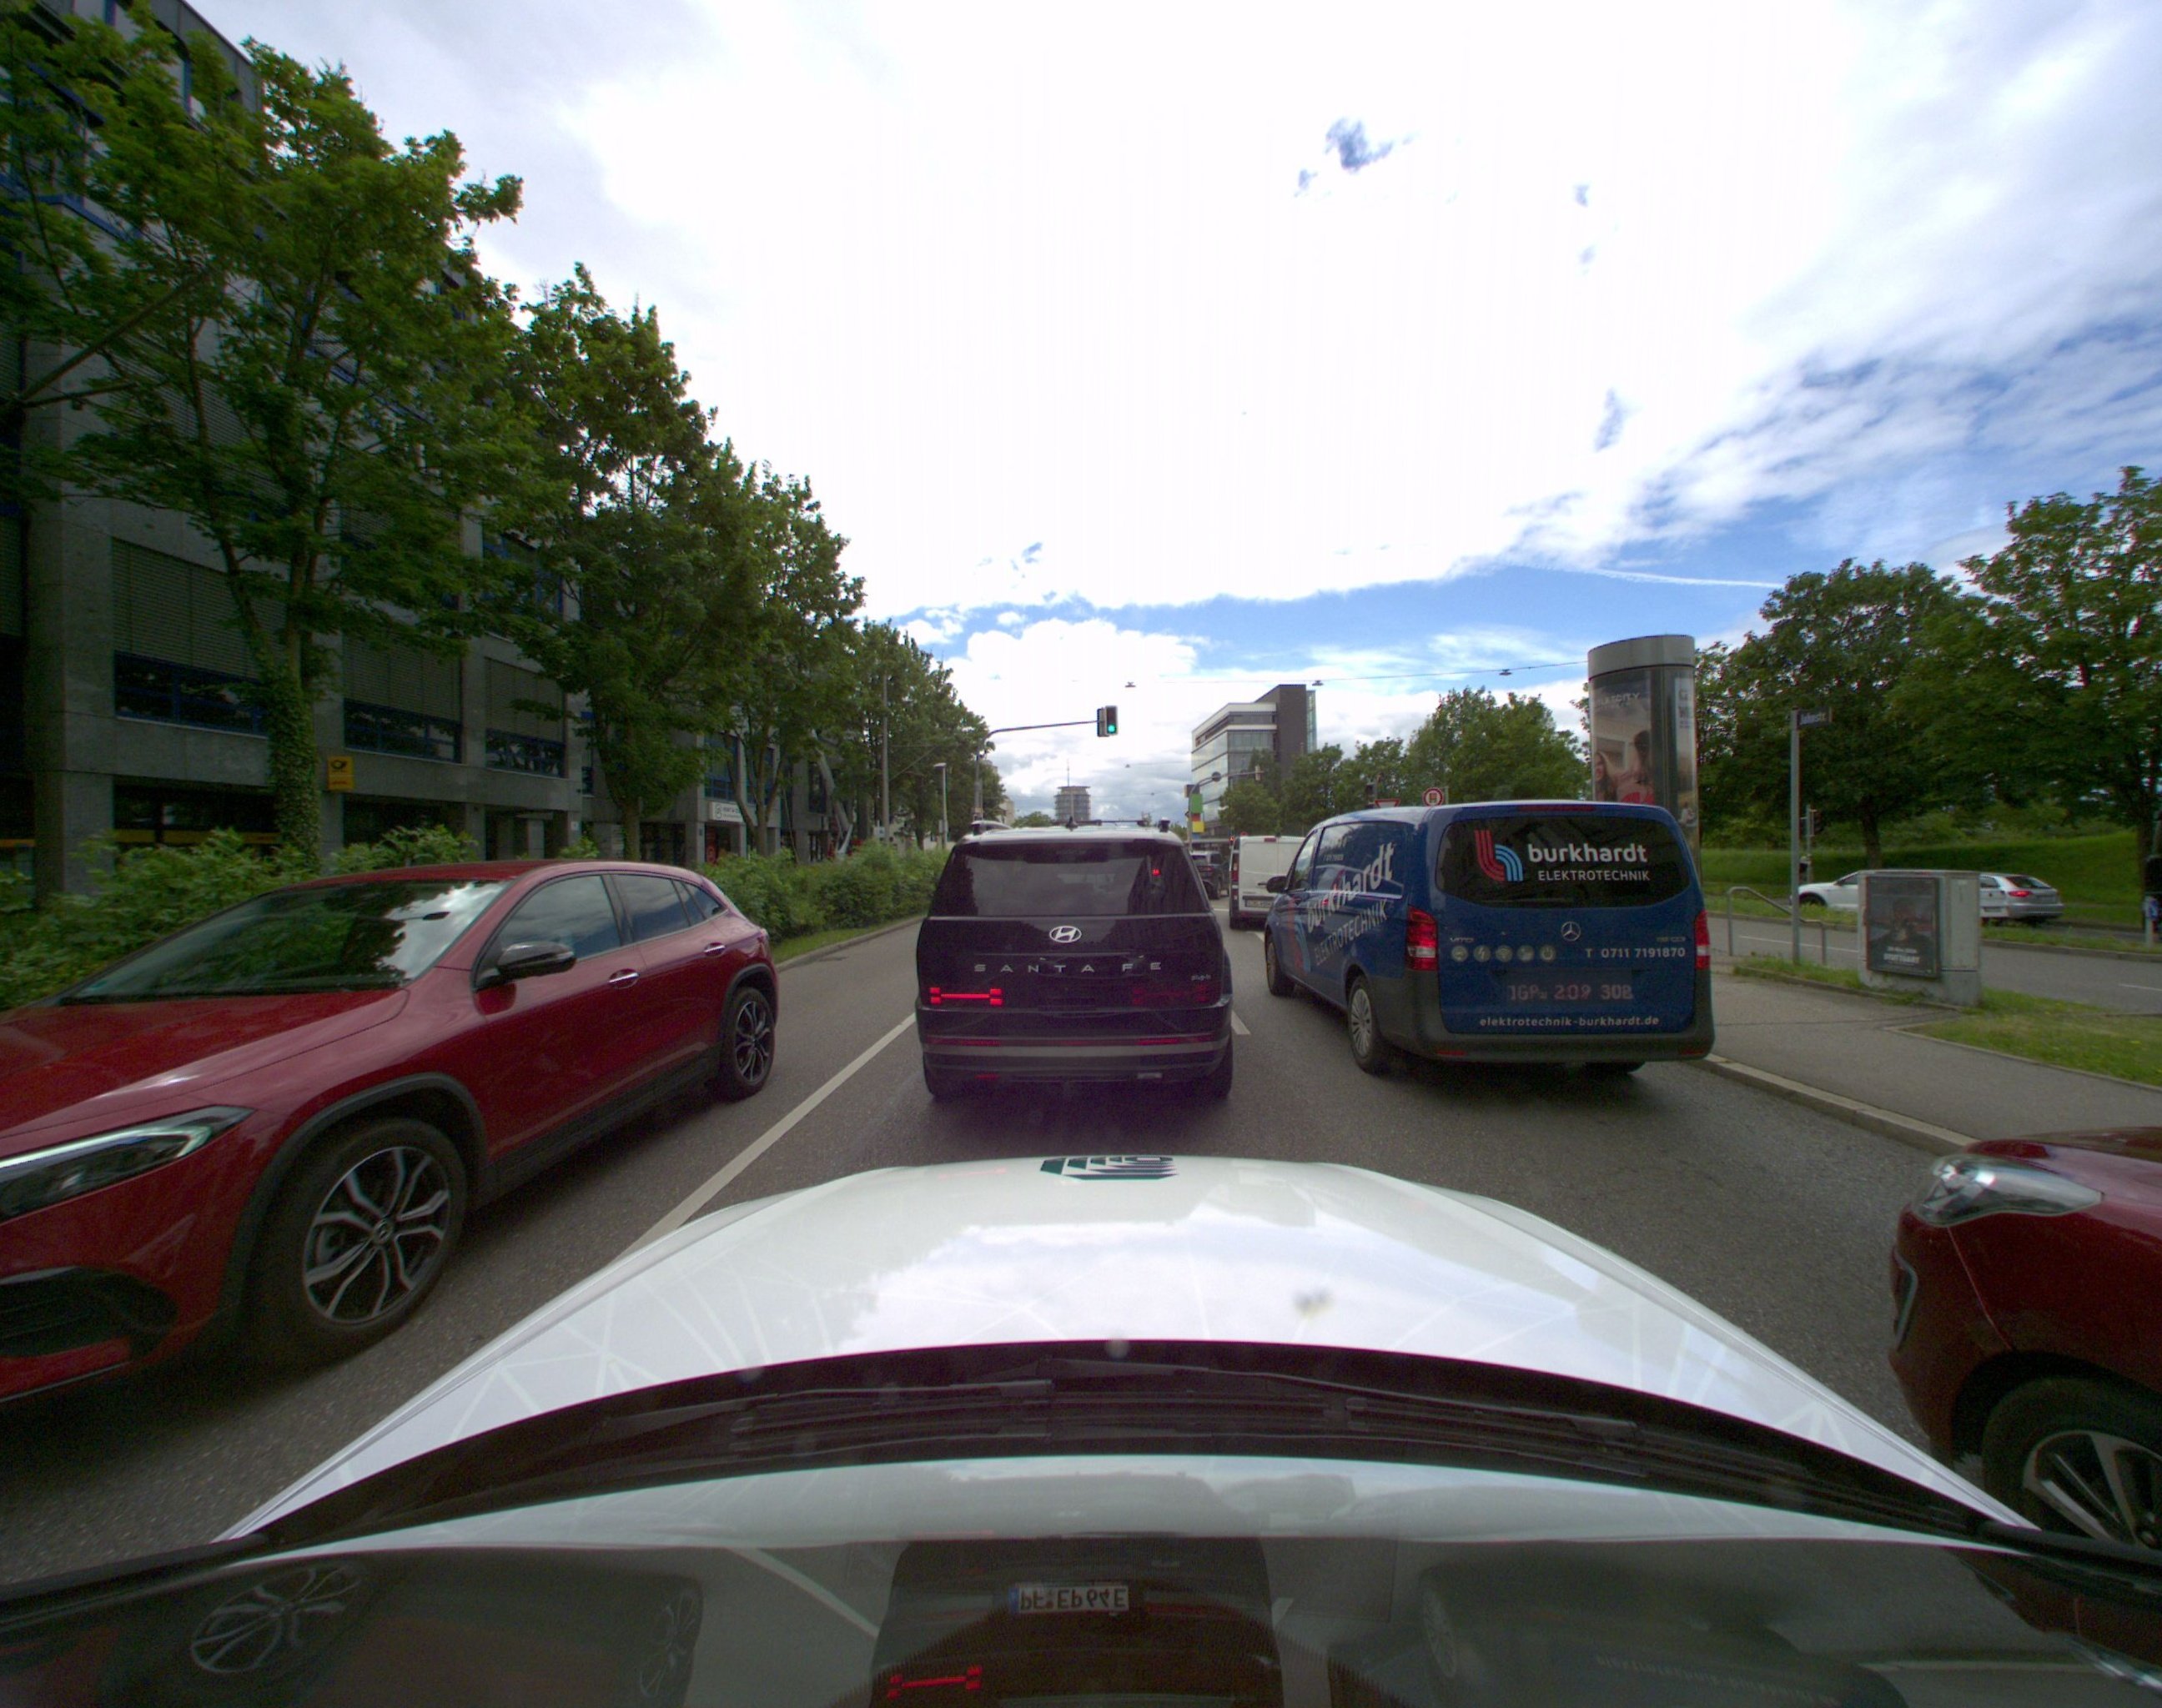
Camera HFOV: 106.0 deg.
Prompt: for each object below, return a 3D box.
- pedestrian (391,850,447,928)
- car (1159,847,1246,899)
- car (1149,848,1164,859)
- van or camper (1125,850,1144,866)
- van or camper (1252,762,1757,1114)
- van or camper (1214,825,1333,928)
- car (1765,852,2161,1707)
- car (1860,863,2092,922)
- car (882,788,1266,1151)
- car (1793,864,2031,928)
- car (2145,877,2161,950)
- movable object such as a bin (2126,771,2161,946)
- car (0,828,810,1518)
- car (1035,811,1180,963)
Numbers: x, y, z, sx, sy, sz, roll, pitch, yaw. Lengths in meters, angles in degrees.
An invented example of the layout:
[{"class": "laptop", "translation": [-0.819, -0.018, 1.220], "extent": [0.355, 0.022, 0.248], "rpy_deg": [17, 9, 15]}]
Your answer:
[{"class": "pedestrian", "translation": [-16.400, 0.846, 20.182], "extent": [0.771, 1.894, 0.731], "rpy_deg": [-1, -1, 1]}, {"class": "car", "translation": [4.402, 0.642, 28.950], "extent": [1.759, 1.717, 4.364], "rpy_deg": [-1, -1, 27]}, {"class": "car", "translation": [12.186, -0.020, 130.822], "extent": [1.987, 1.684, 3.998], "rpy_deg": [-1, -1, -1]}, {"class": "van or camper", "translation": [9.038, 0.667, 137.066], "extent": [1.979, 2.547, 6.603], "rpy_deg": [-1, -1, 14]}, {"class": "van or camper", "translation": [2.876, 0.469, 7.042], "extent": [1.853, 1.911, 5.034], "rpy_deg": [-1, 0, 2]}, {"class": "van or camper", "translation": [4.133, 0.445, 18.240], "extent": [1.983, 2.013, 4.660], "rpy_deg": [-1, 0, 6]}, {"class": "car", "translation": [2.689, 0.768, 0.129], "extent": [1.878, 1.492, 4.002], "rpy_deg": [1, 0, 2]}, {"class": "car", "translation": [25.081, 1.024, 23.056], "extent": [1.994, 1.453, 3.985], "rpy_deg": [1, 0, -11]}, {"class": "car", "translation": [0.026, 0.576, 5.977], "extent": [1.862, 1.760, 3.881], "rpy_deg": [-1, 0, 2]}, {"class": "car", "translation": [21.748, 1.041, 21.558], "extent": [1.994, 1.453, 3.985], "rpy_deg": [1, 0, -11]}, {"class": "car", "translation": [22.988, 1.240, 14.807], "extent": [1.994, 1.453, 3.985], "rpy_deg": [1, 0, -11]}, {"class": "movable object such as a bin", "translation": [26.244, 0.033, 14.789], "extent": [2.860, 3.903, 8.536], "rpy_deg": [0, -1, -11]}, {"class": "car", "translation": [-3.080, 0.804, 3.978], "extent": [1.839, 1.581, 4.120], "rpy_deg": [-4, -1, 3]}, {"class": "car", "translation": [0.416, 0.445, 12.888], "extent": [1.908, 2.003, 3.881], "rpy_deg": [-1, 0, 2]}]
